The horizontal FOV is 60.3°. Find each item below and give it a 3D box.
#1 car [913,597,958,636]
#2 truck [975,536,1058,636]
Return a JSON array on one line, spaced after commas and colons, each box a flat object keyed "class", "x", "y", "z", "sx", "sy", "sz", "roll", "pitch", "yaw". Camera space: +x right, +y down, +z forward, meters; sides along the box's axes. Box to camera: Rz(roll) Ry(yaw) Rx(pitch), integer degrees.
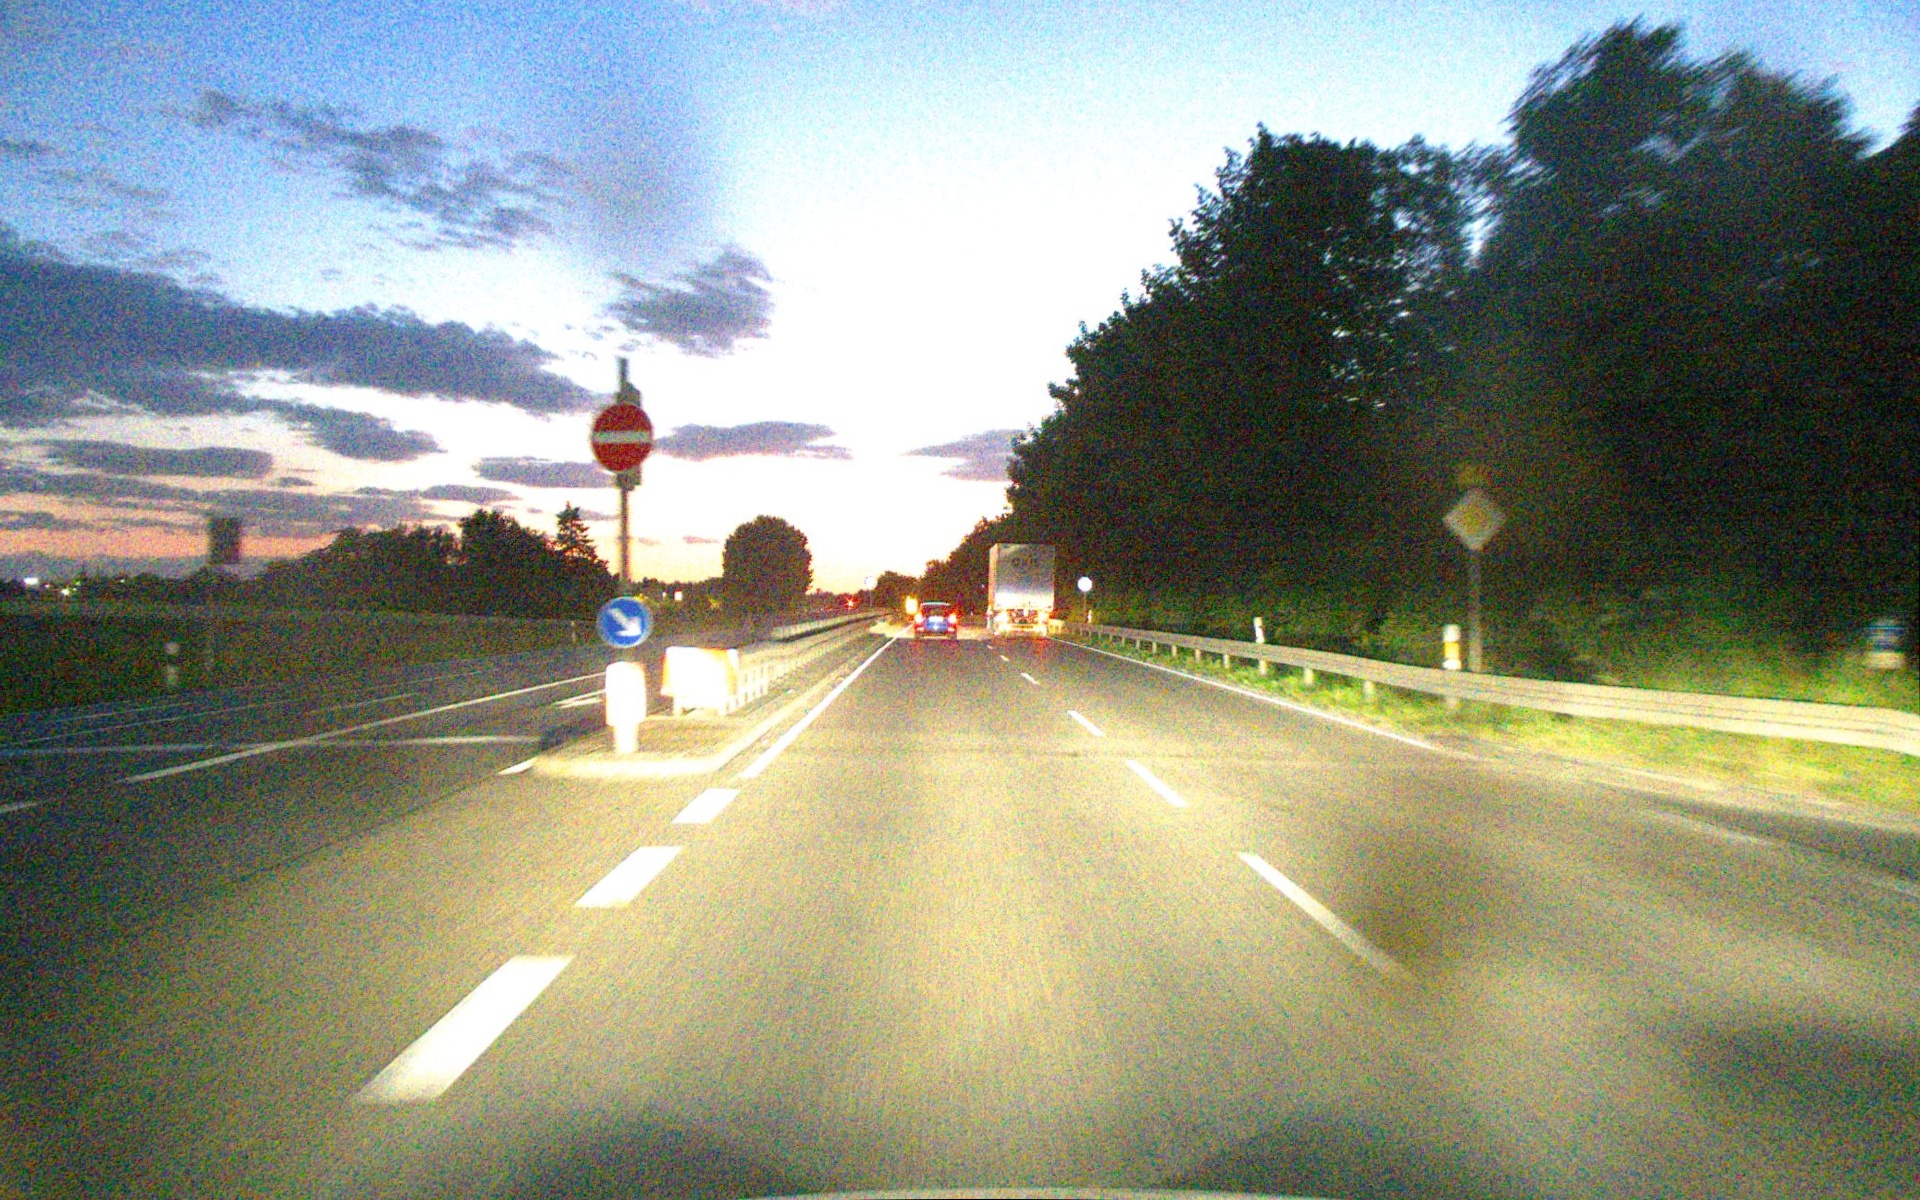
[{"class": "car", "x": -0.980, "y": 0.624, "z": 64.944, "sx": 1.661, "sy": 1.478, "sz": 3.912, "roll": 1, "pitch": 0, "yaw": -2}, {"class": "truck", "x": 2.465, "y": -0.591, "z": 76.147, "sx": 2.825, "sy": 4.178, "sz": 12.677, "roll": 1, "pitch": 0, "yaw": -2}]
